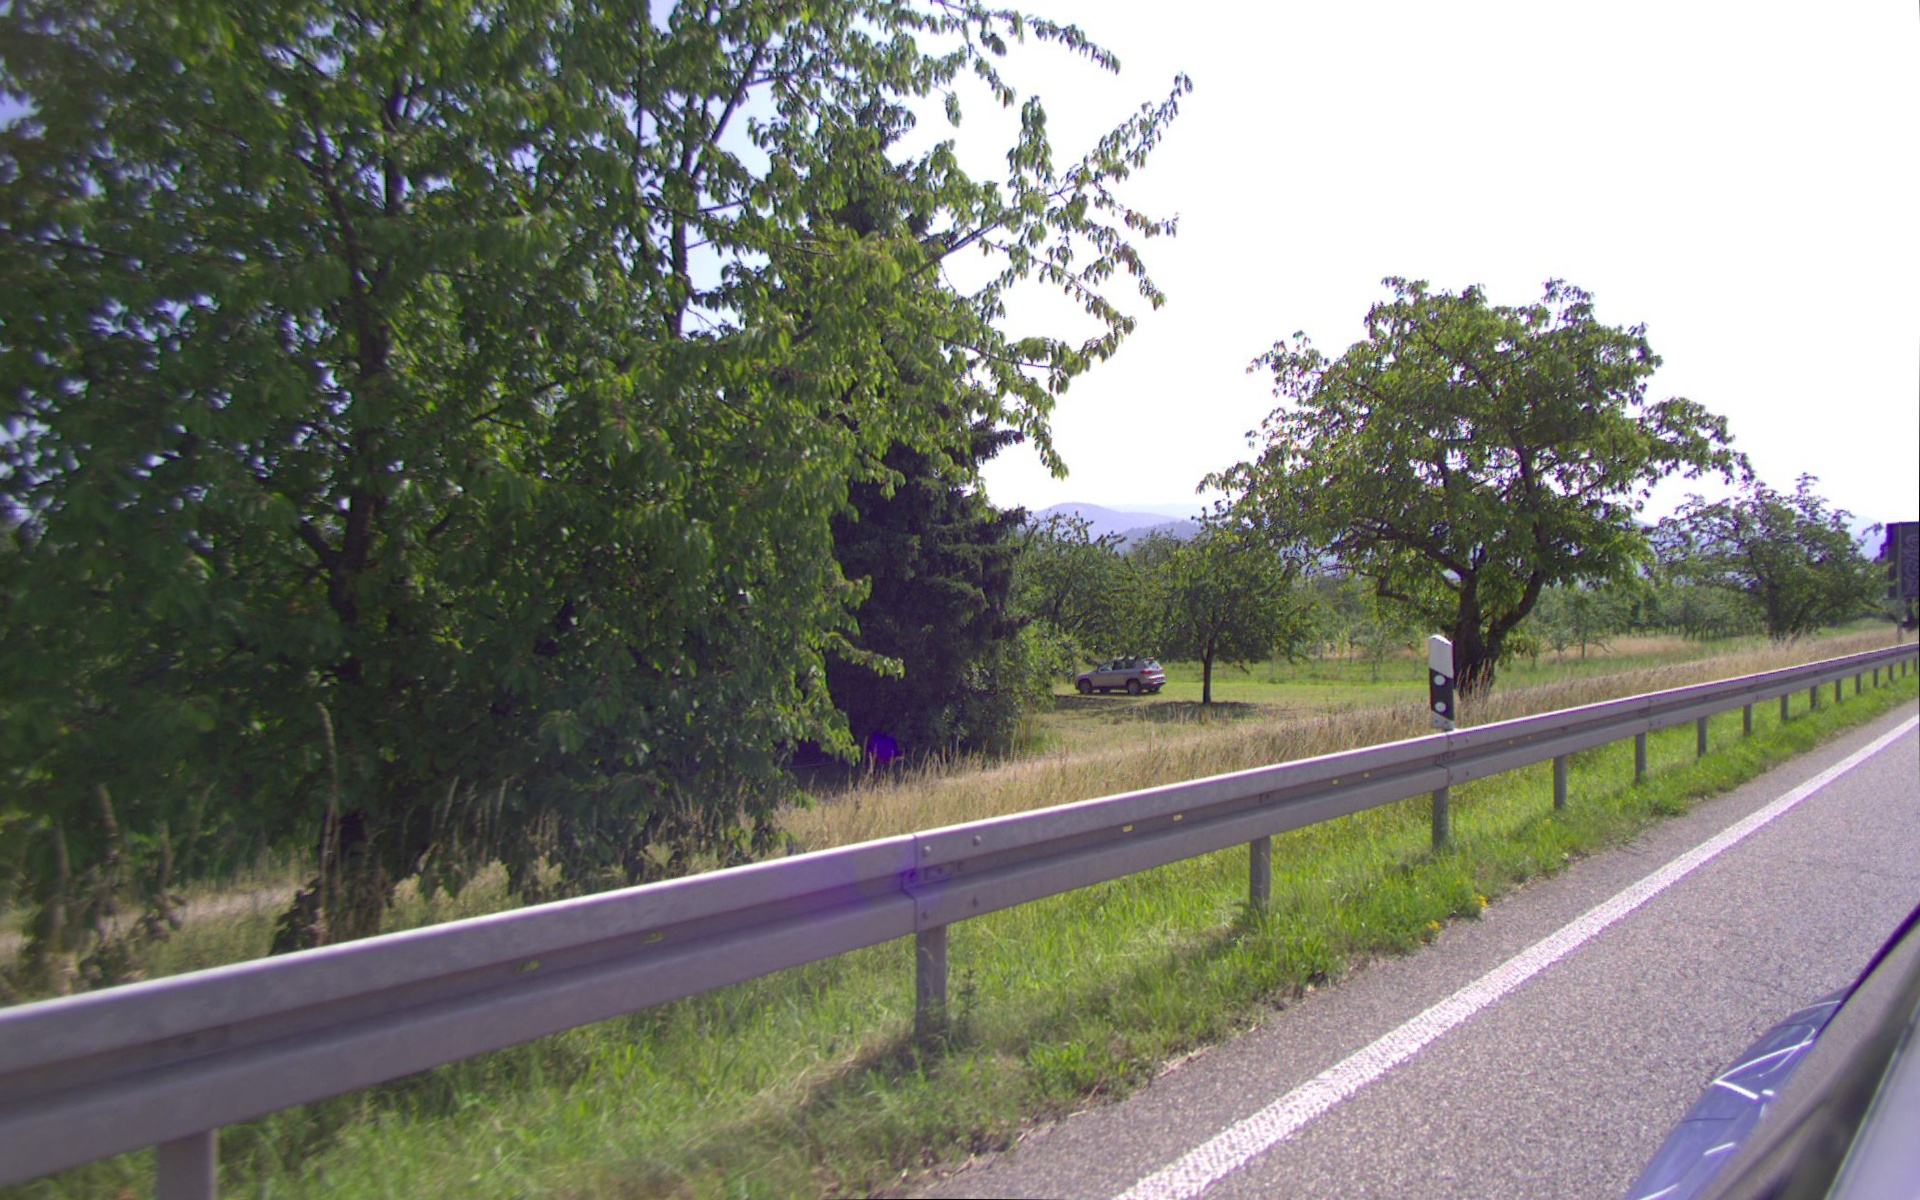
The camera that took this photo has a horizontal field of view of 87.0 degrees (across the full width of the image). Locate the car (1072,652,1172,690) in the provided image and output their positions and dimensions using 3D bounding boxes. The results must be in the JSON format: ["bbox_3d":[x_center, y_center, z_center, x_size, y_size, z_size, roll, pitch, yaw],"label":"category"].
[{"bbox_3d":[7.196,3.166,45.190,4.077,1.554,1.828,-4,-2,44],"label":"car"}]
